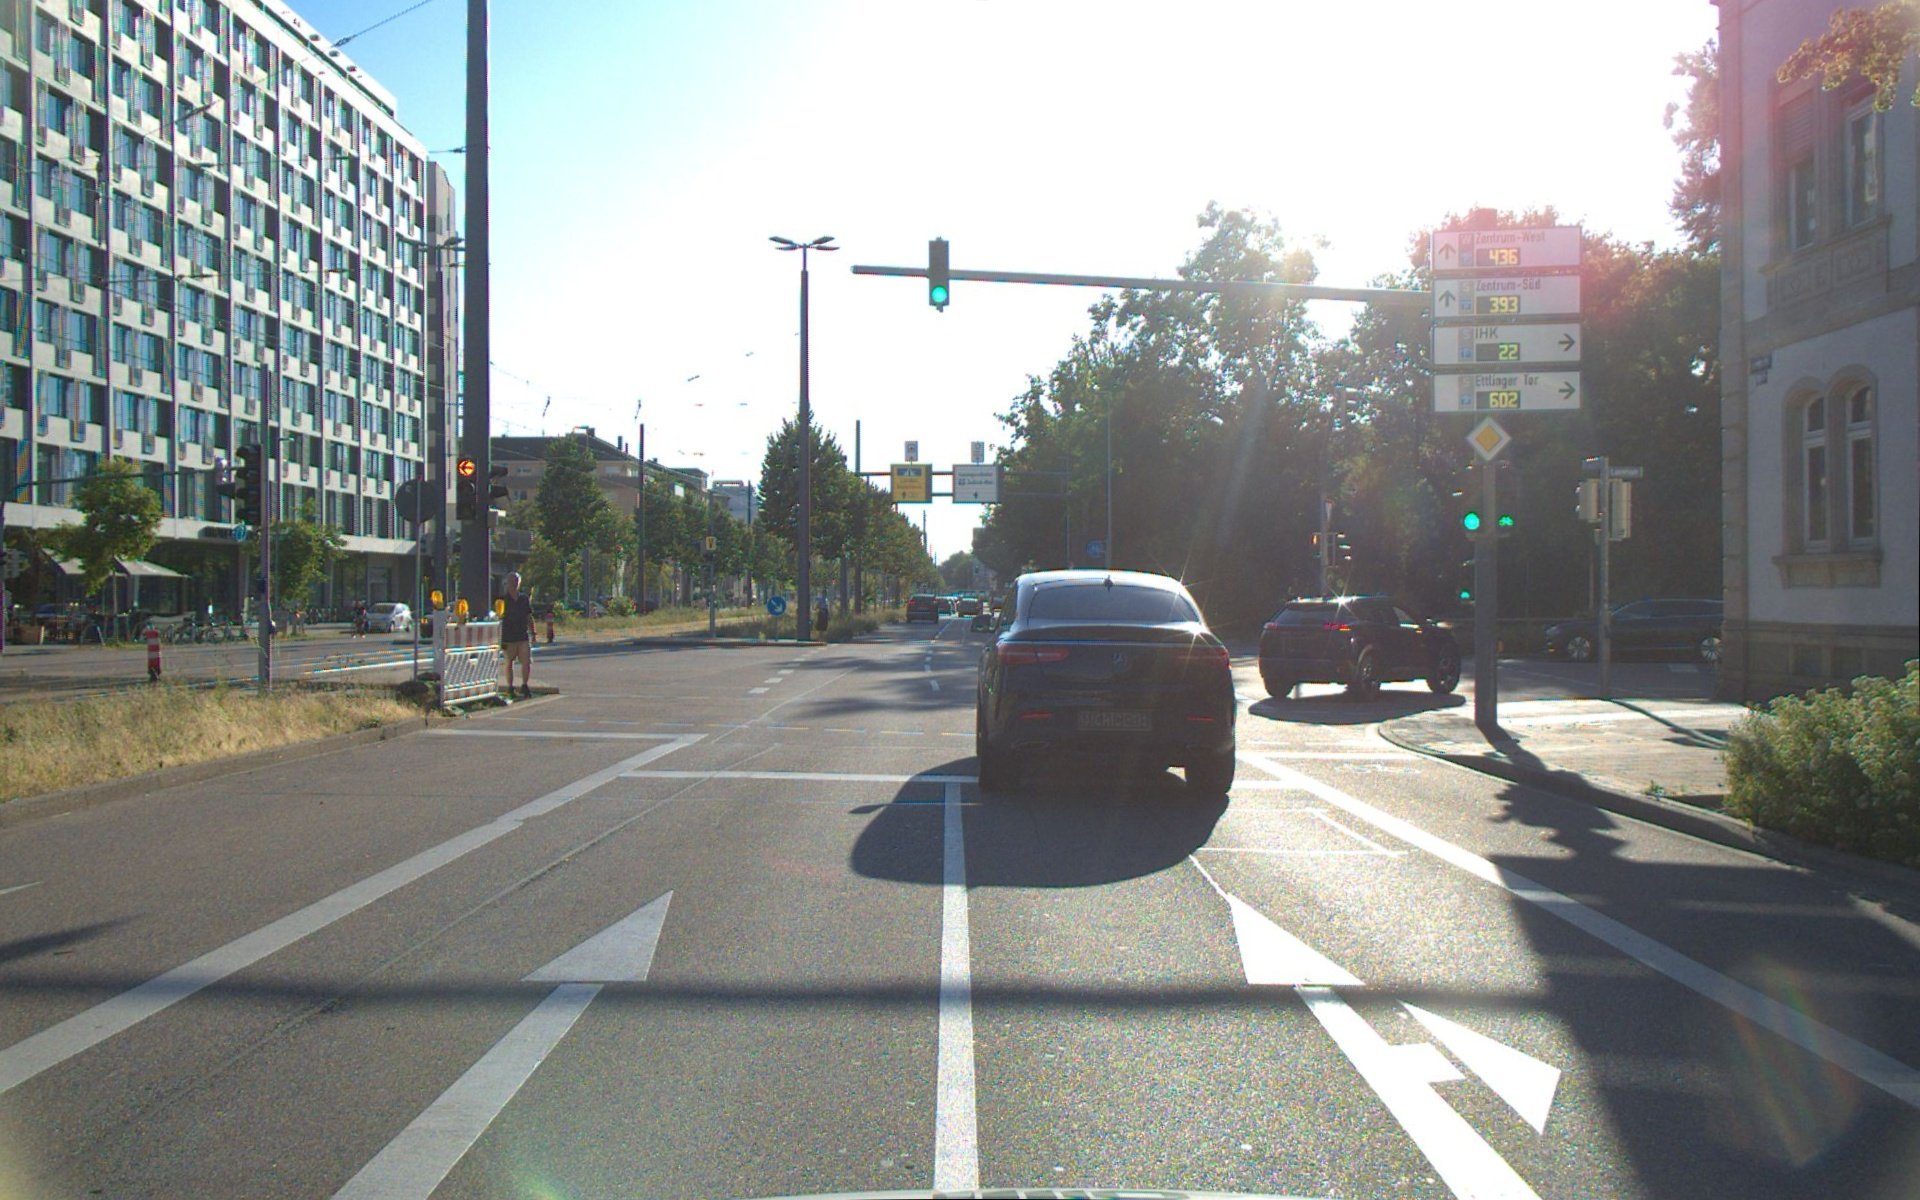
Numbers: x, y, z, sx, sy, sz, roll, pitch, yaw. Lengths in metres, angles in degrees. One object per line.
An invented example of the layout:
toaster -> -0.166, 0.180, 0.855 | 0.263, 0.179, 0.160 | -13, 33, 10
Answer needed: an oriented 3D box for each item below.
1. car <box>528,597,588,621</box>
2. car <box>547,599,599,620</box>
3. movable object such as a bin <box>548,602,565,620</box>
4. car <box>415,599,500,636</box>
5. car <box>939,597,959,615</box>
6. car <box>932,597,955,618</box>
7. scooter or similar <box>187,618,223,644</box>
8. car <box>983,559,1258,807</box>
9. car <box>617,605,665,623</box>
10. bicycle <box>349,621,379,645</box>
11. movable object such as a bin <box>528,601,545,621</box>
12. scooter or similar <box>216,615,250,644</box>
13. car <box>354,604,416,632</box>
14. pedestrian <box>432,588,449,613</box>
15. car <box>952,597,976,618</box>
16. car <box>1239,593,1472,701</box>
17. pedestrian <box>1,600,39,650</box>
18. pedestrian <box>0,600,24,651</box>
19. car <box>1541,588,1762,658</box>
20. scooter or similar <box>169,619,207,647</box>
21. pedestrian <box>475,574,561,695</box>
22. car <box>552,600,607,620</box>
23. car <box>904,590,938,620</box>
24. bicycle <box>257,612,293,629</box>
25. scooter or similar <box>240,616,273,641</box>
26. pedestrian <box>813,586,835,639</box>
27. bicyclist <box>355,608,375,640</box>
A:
car -> -30.327, 0.711, 124.797 | 4.059, 1.629, 1.724 | 3, 0, -41
car -> -30.092, 0.729, 128.742 | 3.592, 1.550, 1.597 | 2, -1, -41
movable object such as a bin -> -29.236, 0.827, 119.931 | 0.839, 1.303, 0.940 | 0, 0, 14
car -> -19.586, 0.659, 64.632 | 1.852, 1.367, 4.850 | 0, 0, 0
car -> -1.040, 0.577, 155.259 | 1.847, 1.608, 4.000 | 1, 1, 0
car -> -1.386, 0.612, 139.512 | 1.847, 1.608, 4.000 | 1, 1, 0
scooter or similar -> -30.054, 1.234, 65.872 | 1.218, 1.037, 0.435 | -1, 0, 1
car -> 1.191, 0.570, 13.904 | 1.952, 1.764, 4.001 | 1, 1, 1
car -> -29.620, 1.262, 153.512 | 3.965, 1.590, 1.970 | 1, 0, -42
bicycle -> -27.565, 1.521, 76.557 | 0.612, 1.085, 2.078 | 0, 0, 1
movable object such as a bin -> -30.596, 0.801, 119.611 | 0.839, 1.381, 0.940 | 0, 0, 14
scooter or similar -> -29.836, 1.201, 67.895 | 1.218, 1.192, 0.406 | -1, 0, 1
car -> -29.755, 0.904, 85.667 | 1.720, 1.351, 4.000 | 1, 0, 1
pedestrian -> -34.720, 0.054, 110.481 | 0.826, 1.682, 0.970 | 0, 0, 2
car -> 0.290, 0.590, 131.059 | 1.847, 1.608, 4.000 | 1, 1, 0
car -> 6.331, 0.682, 26.221 | 1.870, 1.554, 4.032 | 0, 0, 43
pedestrian -> -33.470, 0.892, 58.916 | 0.851, 1.751, 0.804 | 0, 0, 10
pedestrian -> -33.550, 0.892, 58.122 | 0.851, 1.751, 0.804 | 0, 0, 10
car -> 15.561, 0.515, 37.295 | 4.495, 1.500, 1.902 | -1, -1, 25
scooter or similar -> -30.038, 1.278, 64.346 | 1.218, 1.037, 0.511 | -1, 0, 1
pedestrian -> -6.241, 0.478, 23.373 | 0.904, 1.678, 0.766 | 0, 0, 15
car -> -30.260, 0.788, 131.596 | 1.755, 1.478, 3.976 | 1, 0, 42
car -> -2.201, 0.283, 94.473 | 1.847, 1.608, 4.000 | 1, 1, 0
bicycle -> -37.242, 1.096, 89.939 | 1.769, 0.921, 0.511 | 0, 0, -6
scooter or similar -> -29.949, 1.224, 70.417 | 1.218, 1.037, 0.435 | -1, 0, 1
pedestrian -> -4.447, 0.403, 54.157 | 0.585, 1.729, 0.714 | 0, 0, 5
bicyclist -> -27.559, 1.110, 76.576 | 0.612, 1.490, 0.851 | 0, 0, 1
